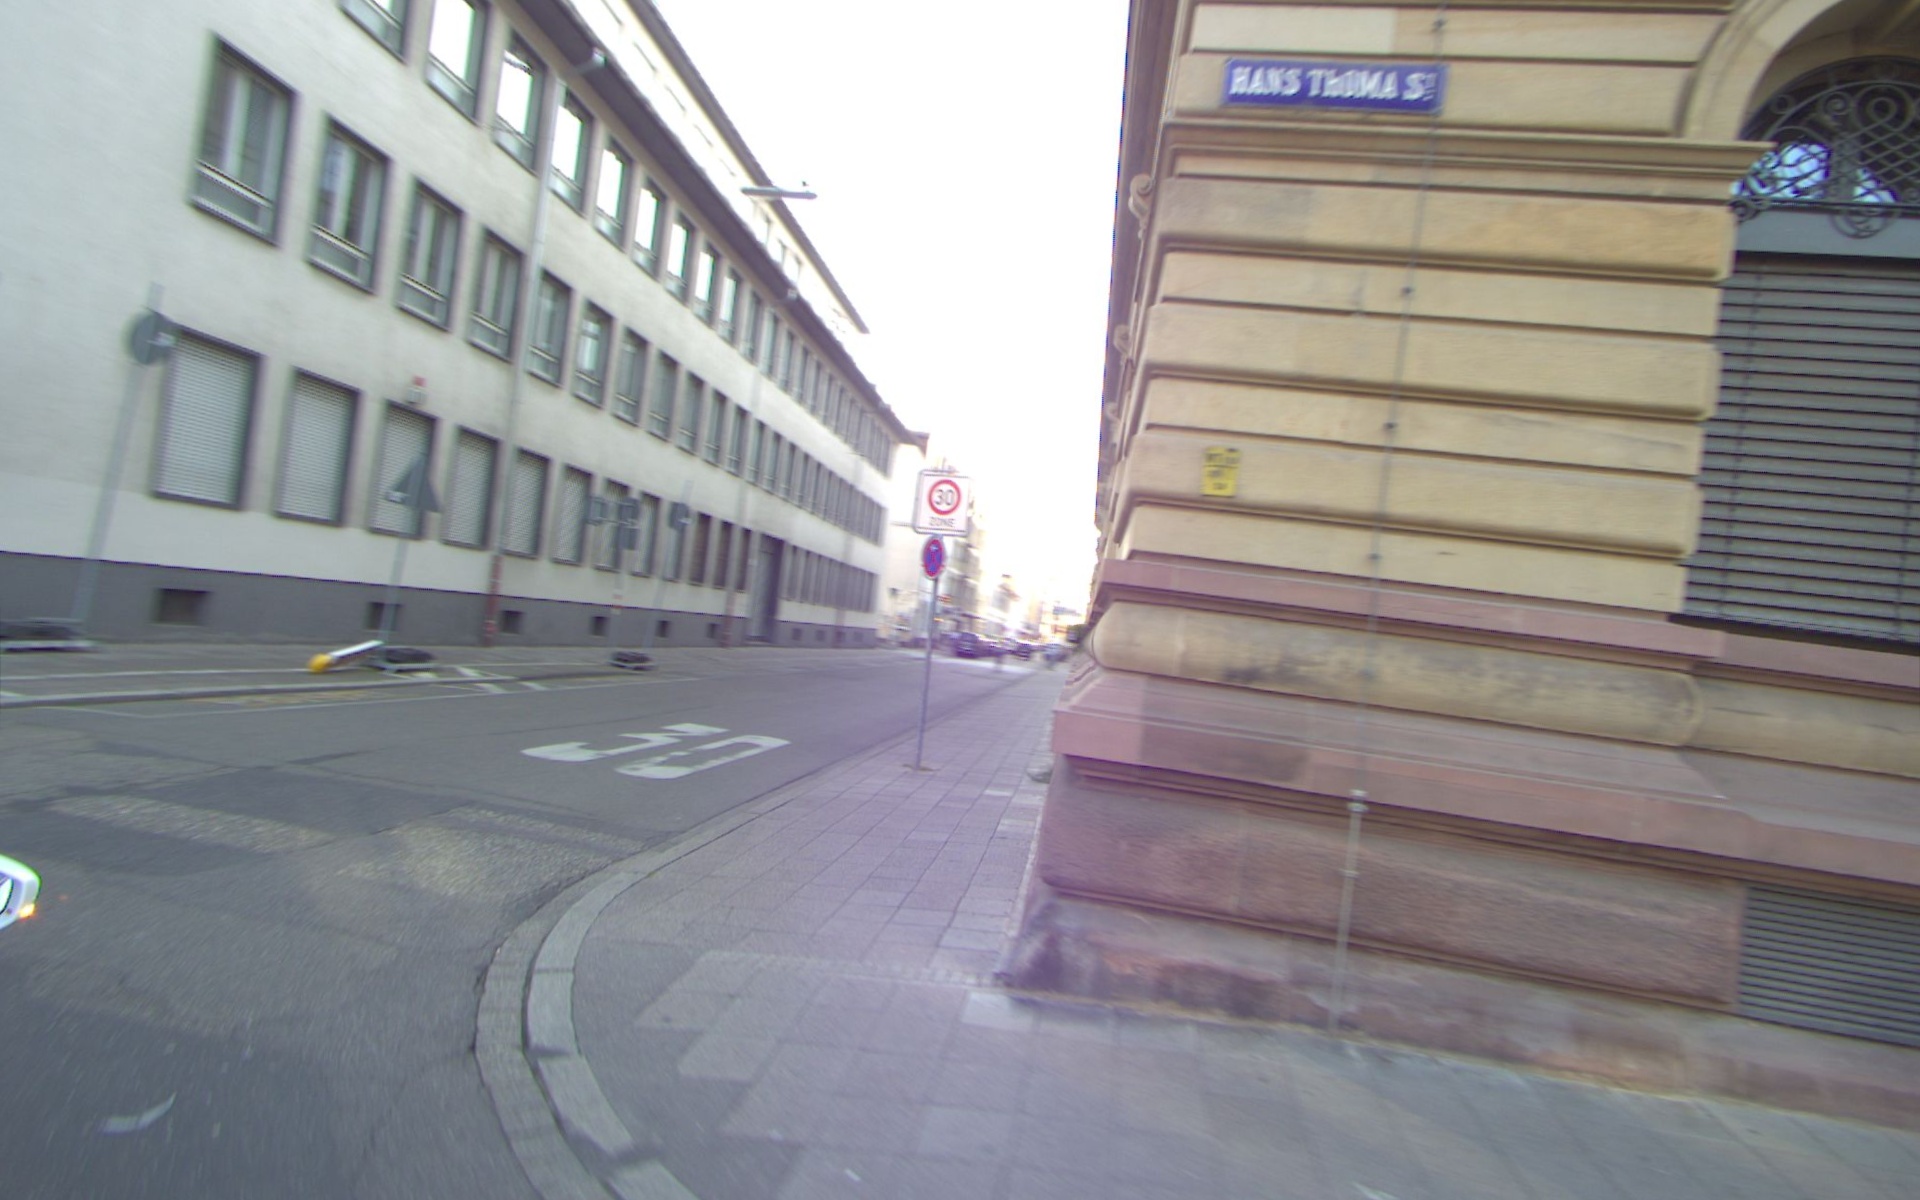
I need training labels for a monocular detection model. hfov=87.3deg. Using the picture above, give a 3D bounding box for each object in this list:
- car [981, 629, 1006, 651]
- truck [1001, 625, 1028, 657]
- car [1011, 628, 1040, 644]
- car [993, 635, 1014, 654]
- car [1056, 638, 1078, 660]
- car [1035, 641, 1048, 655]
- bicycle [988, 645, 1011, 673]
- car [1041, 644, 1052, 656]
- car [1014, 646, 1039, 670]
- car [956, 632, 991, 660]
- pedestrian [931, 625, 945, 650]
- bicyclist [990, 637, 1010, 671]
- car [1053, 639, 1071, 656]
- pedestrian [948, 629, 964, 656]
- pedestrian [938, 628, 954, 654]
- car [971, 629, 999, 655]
[{"bbox_3d":[3.186,3.804,95.169,1.962,1.837,4.004,7,-2,5],"label":"car"},{"bbox_3d":[6.782,5.140,125.596,2.728,3.545,9.625,7,-2,3],"label":"truck"},{"bbox_3d":[9.364,5.120,143.833,3.926,1.791,2.016,8,-1,1],"label":"car"},{"bbox_3d":[4.887,5.005,113.394,1.962,1.837,4.004,7,-2,6],"label":"car"},{"bbox_3d":[11.028,5.014,104.137,1.962,2.015,4.004,7,-2,5],"label":"car"},{"bbox_3d":[13.942,8.135,171.582,1.962,2.036,4.006,8,-2,5],"label":"car"},{"bbox_3d":[2.021,2.990,50.904,0.781,1.292,2.581,6,-2,8],"label":"bicycle"},{"bbox_3d":[17.150,9.992,199.580,1.963,2.036,4.005,8,-2,3],"label":"car"},{"bbox_3d":[6.112,5.310,92.074,1.962,1.926,4.004,7,-2,5],"label":"car"},{"bbox_3d":[1.003,3.286,72.479,1.962,1.748,4.004,7,-2,6],"label":"car"},{"bbox_3d":[-1.619,2.808,75.466,0.745,1.851,0.734,7,-1,-10],"label":"pedestrian"},{"bbox_3d":[2.030,2.732,50.878,0.776,1.602,1.013,6,-1,8],"label":"bicyclist"},{"bbox_3d":[12.537,5.861,124.068,1.962,1.908,4.176,7,-2,5],"label":"car"},{"bbox_3d":[-0.316,3.295,77.923,0.722,1.934,0.757,6,-1,26],"label":"pedestrian"},{"bbox_3d":[-1.101,3.233,78.816,0.722,1.934,0.757,6,-1,26],"label":"pedestrian"},{"bbox_3d":[2.093,3.494,83.736,1.962,1.837,4.003,7,-2,4],"label":"car"}]
